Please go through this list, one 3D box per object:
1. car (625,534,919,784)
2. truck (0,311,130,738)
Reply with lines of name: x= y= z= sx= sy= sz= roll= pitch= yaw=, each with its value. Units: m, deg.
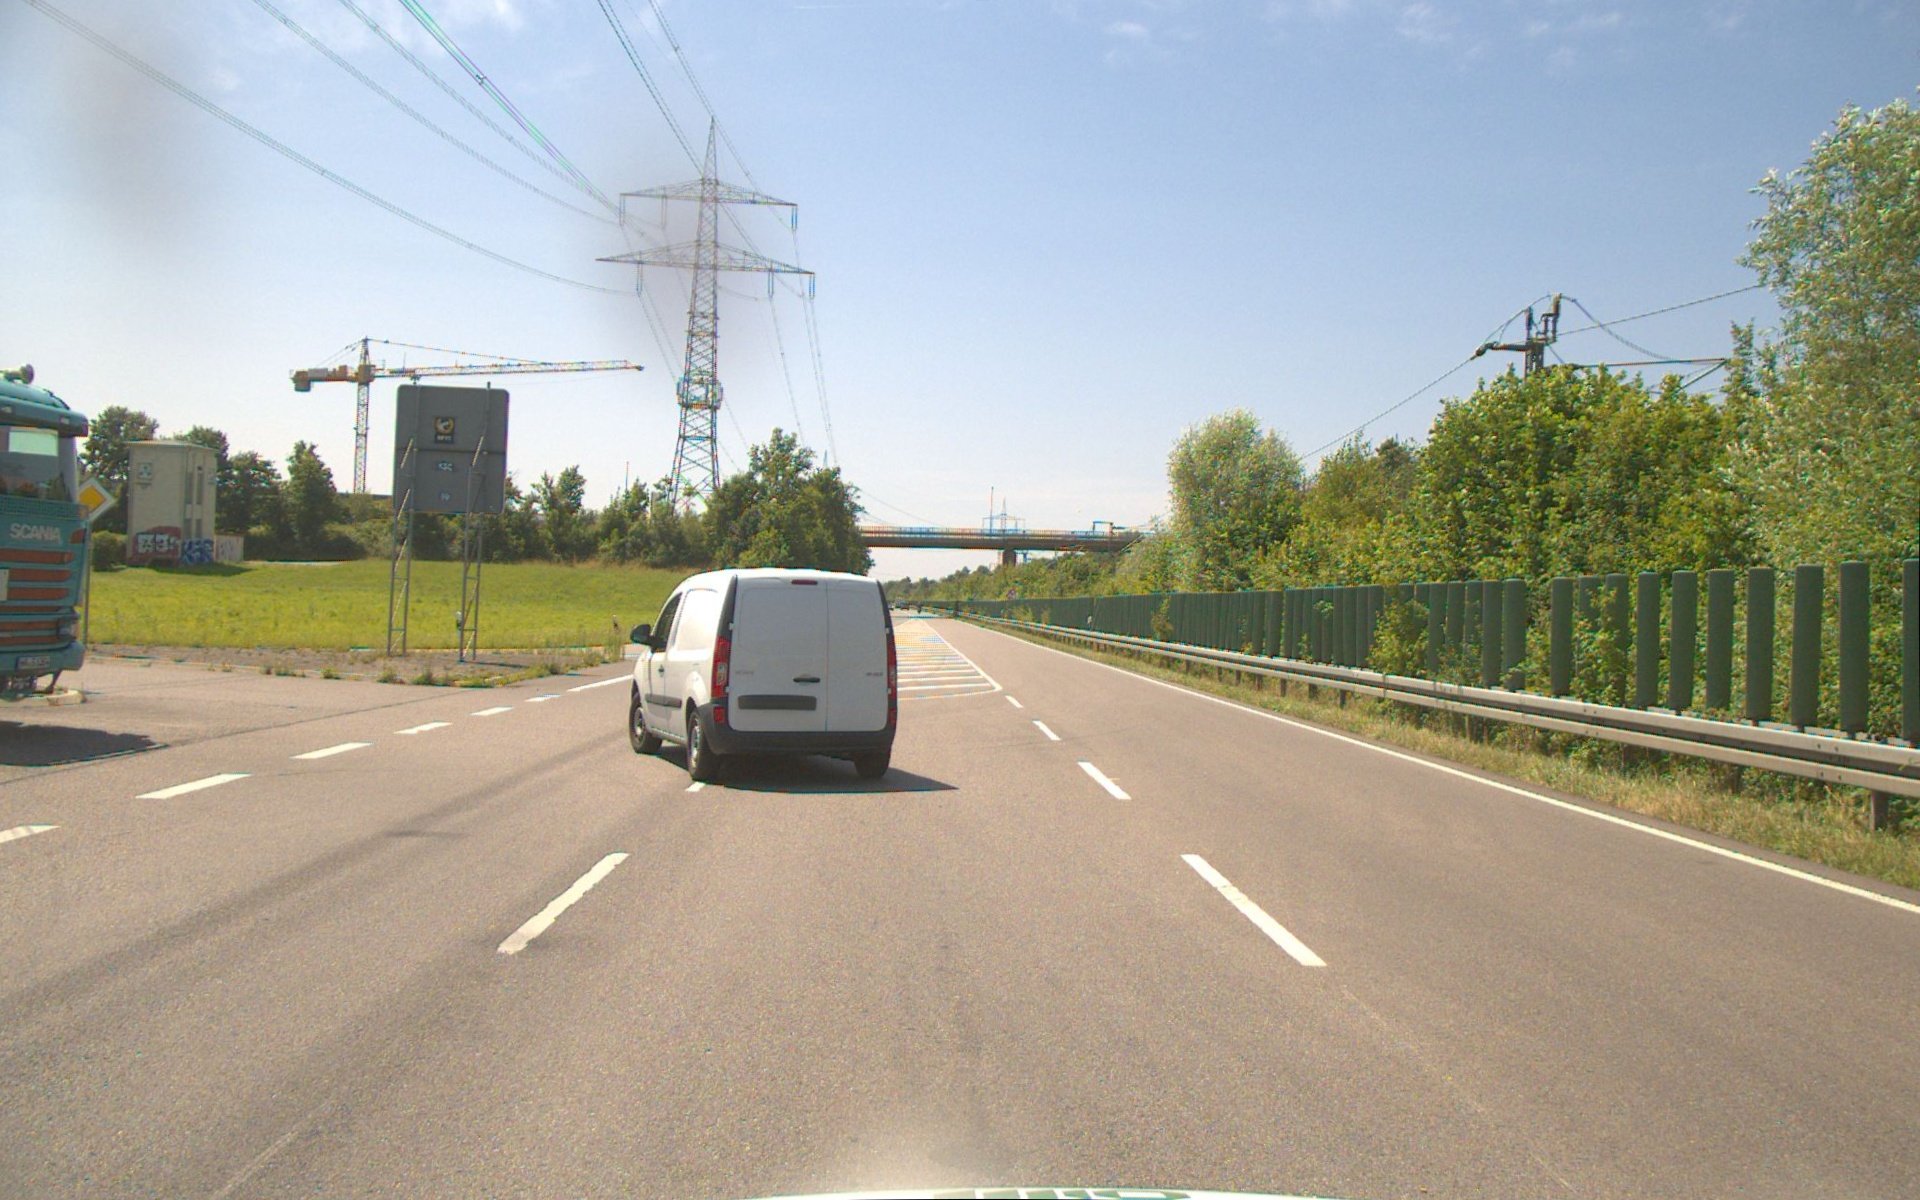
car: x=-1.891 y=0.480 z=15.479 sx=1.801 sy=2.005 sz=3.975 roll=1 pitch=0 yaw=-21
truck: x=-12.406 y=-0.892 z=15.528 sx=7.743 sy=3.799 sz=2.498 roll=4 pitch=0 yaw=1
